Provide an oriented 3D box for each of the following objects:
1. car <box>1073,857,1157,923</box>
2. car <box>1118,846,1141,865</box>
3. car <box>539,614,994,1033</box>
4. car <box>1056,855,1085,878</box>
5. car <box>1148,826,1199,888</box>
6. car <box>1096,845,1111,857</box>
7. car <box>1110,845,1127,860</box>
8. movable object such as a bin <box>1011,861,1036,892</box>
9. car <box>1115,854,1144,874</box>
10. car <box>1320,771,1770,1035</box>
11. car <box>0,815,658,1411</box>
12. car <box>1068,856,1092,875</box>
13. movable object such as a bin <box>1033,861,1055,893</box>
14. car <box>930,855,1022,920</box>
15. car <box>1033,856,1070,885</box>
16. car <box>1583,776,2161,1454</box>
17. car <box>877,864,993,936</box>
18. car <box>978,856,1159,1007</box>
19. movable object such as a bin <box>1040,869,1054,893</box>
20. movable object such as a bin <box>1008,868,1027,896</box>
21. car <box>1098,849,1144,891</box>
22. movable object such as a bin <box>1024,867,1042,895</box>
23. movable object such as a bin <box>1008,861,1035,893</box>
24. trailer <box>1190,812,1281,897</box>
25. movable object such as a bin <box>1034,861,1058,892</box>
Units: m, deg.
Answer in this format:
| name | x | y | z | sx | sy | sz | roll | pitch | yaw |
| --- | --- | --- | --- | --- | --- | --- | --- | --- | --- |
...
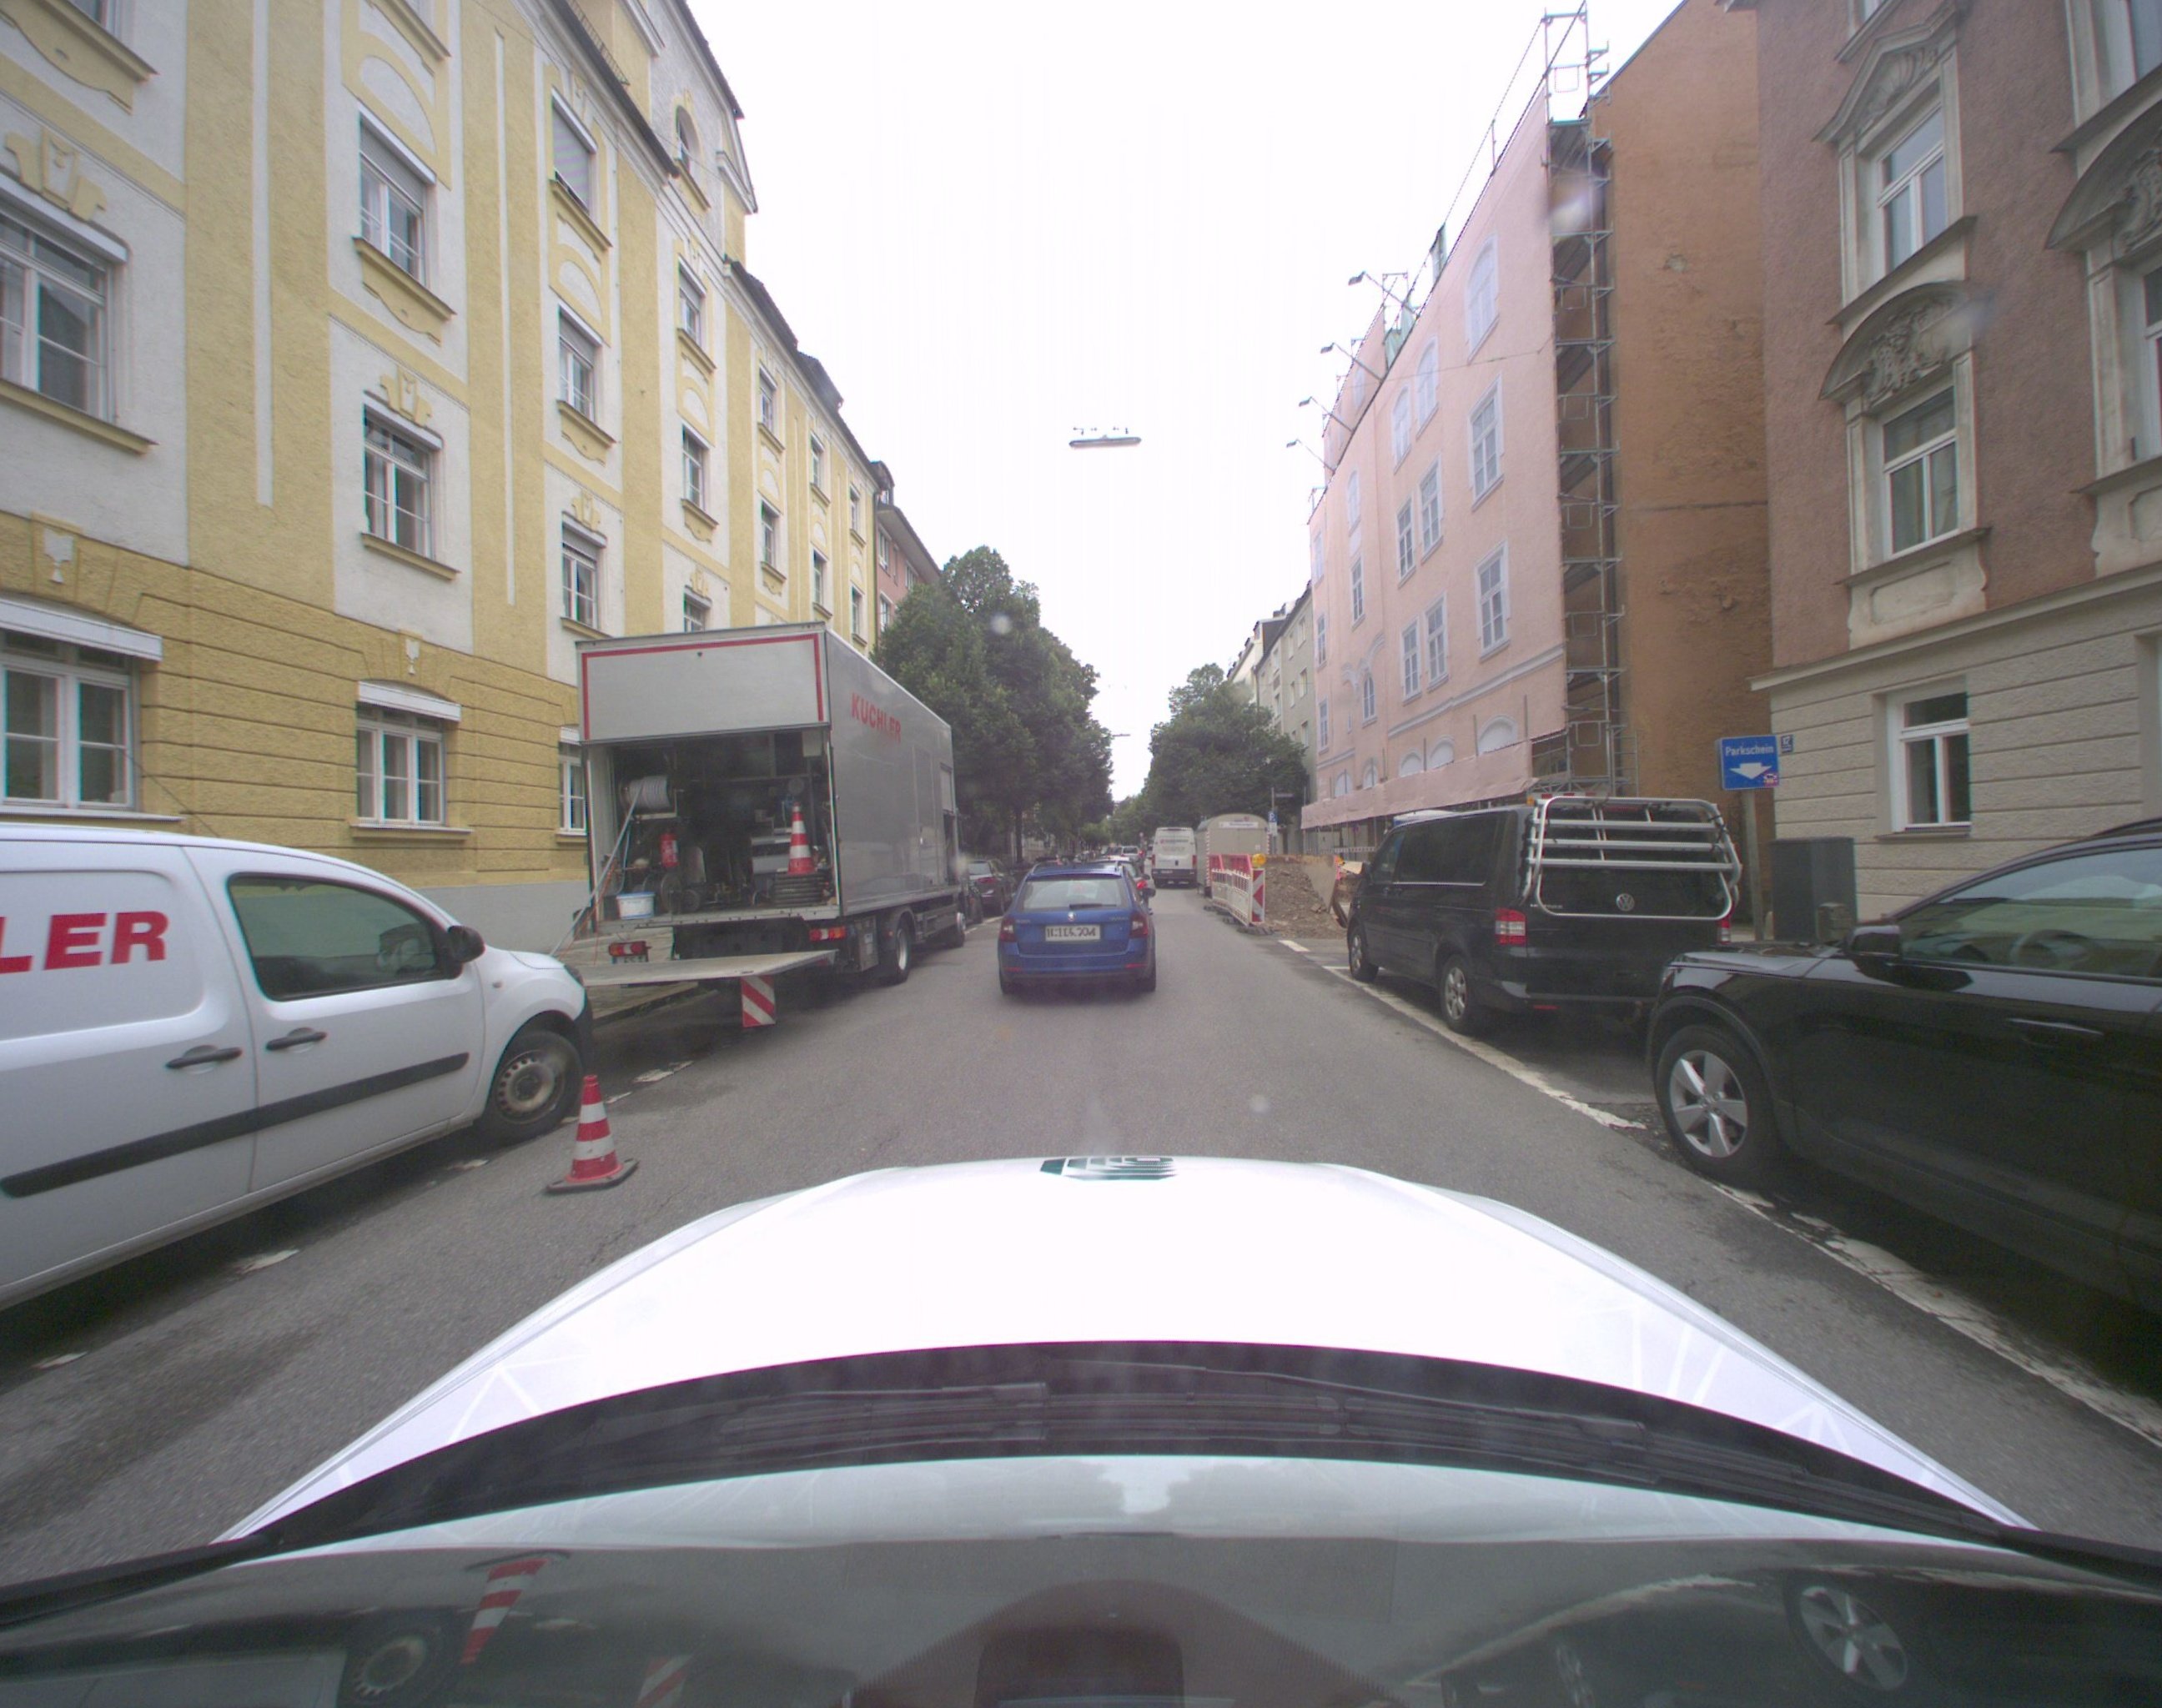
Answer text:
| name | x | y | z | sx | sy | sz | roll | pitch | yaw |
| --- | --- | --- | --- | --- | --- | --- | --- | --- | --- |
| car | 0.894 | 0.785 | 19.287 | 1.732 | 1.422 | 3.670 | -1 | 0 | 6 |
| car | 4.659 | 0.126 | 78.868 | 1.863 | 1.870 | 4.343 | 0 | 0 | -2 |
| car | -3.423 | -0.259 | 11.961 | 2.801 | 3.817 | 8.729 | -2 | 0 | 3 |
| car | -0.683 | 0.818 | 55.443 | 1.806 | 1.478 | 4.001 | -1 | 0 | 1 |
| car | 4.388 | 0.141 | 37.866 | 2.100 | 2.664 | 5.513 | 0 | -1 | 9 |
| car | 3.144 | -0.407 | 115.011 | 2.001 | 1.653 | 4.346 | 0 | 0 | 0 |
| car | 4.244 | -0.158 | 92.957 | 1.860 | 1.653 | 4.350 | 0 | 0 | 2 |
| movable object such as a bin | -2.676 | 1.048 | 37.959 | 1.054 | 1.376 | 1.095 | -3 | 0 | -1 |
| car | 3.423 | 0.718 | 58.462 | 1.861 | 1.348 | 4.347 | 0 | 0 | 0 |
| car | 4.144 | 0.467 | 8.566 | 2.073 | 1.921 | 5.145 | 0 | -3 | 4 |
| car | -4.055 | 0.822 | 3.621 | 1.755 | 1.779 | 4.331 | -3 | 0 | 4 |
| car | -0.055 | 0.928 | 67.477 | 1.804 | 1.478 | 4.003 | -1 | 0 | 3 |
| movable object such as a bin | -1.669 | 1.027 | 36.901 | 0.915 | 1.376 | 1.079 | -3 | 0 | -1 |
| car | -2.936 | 0.900 | 23.620 | 1.777 | 1.628 | 4.189 | -3 | 0 | 4 |
| car | -1.584 | 0.845 | 44.730 | 1.806 | 1.478 | 4.001 | -1 | 0 | 1 |
| car | 3.563 | 0.668 | 2.414 | 1.686 | 1.676 | 4.412 | 1 | 0 | 4 |
| car | -3.245 | 0.978 | 18.817 | 1.691 | 1.409 | 3.713 | -2 | -1 | 5 |
| car | 0.012 | 0.790 | 10.340 | 1.781 | 1.460 | 4.319 | -2 | 0 | 4 |
| movable object such as a bin | -1.505 | 1.191 | 36.039 | 0.545 | 1.020 | 0.636 | -3 | 0 | 0 |
| movable object such as a bin | -2.790 | 1.227 | 35.972 | 0.718 | 1.138 | 0.658 | -4 | 0 | -1 |
| car | 1.720 | 0.647 | 35.303 | 1.860 | 1.696 | 4.350 | 0 | 0 | 3 |
| movable object such as a bin | -2.124 | 1.187 | 36.001 | 0.709 | 1.148 | 0.636 | -3 | 0 | -1 |
| movable object such as a bin | -2.665 | 1.021 | 36.857 | 1.078 | 1.376 | 1.083 | -3 | 0 | -1 |
| trailer | 5.628 | 0.062 | 30.711 | 2.492 | 2.840 | 6.906 | 0 | -1 | 3 |
| movable object such as a bin | -1.620 | 1.043 | 37.999 | 1.017 | 1.376 | 1.103 | -3 | 0 | -1 |
